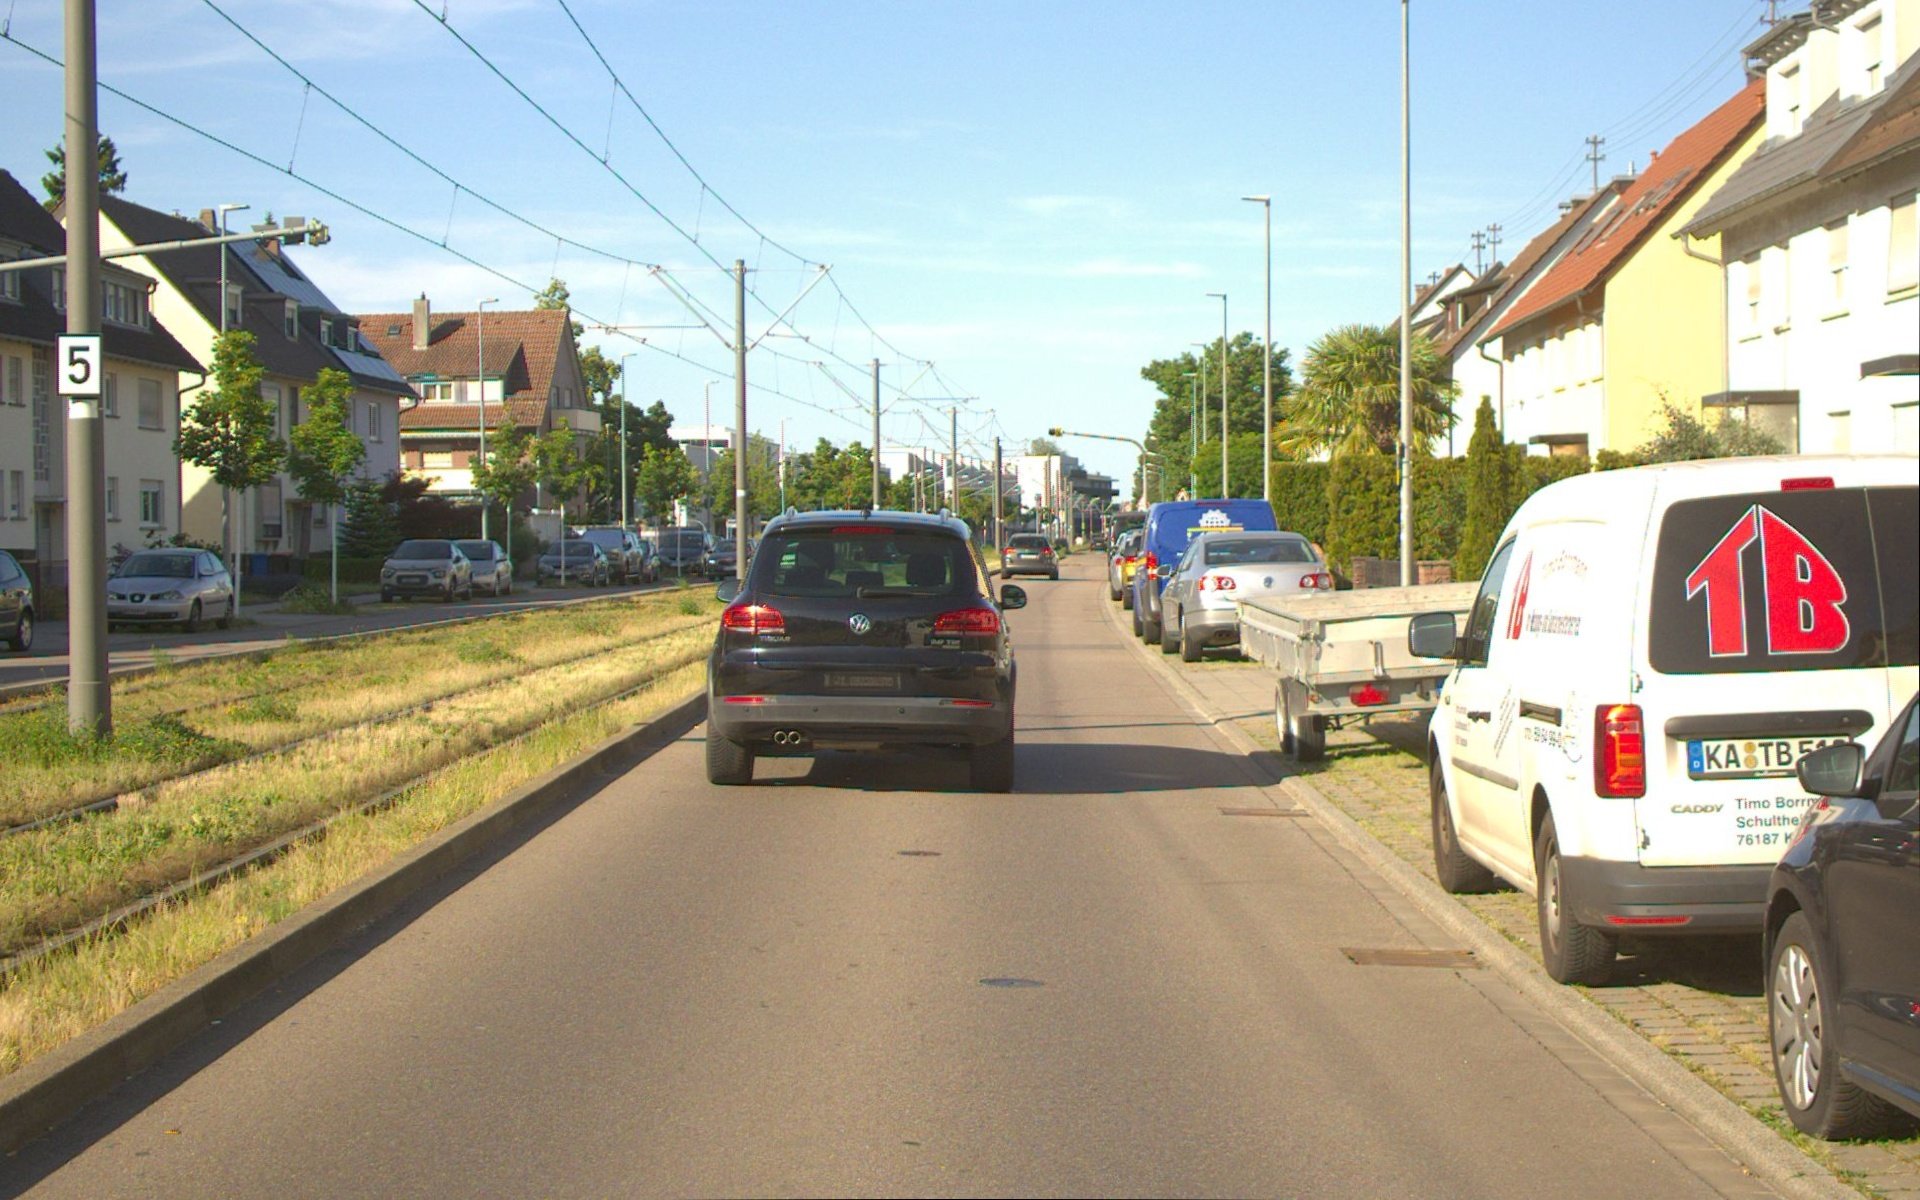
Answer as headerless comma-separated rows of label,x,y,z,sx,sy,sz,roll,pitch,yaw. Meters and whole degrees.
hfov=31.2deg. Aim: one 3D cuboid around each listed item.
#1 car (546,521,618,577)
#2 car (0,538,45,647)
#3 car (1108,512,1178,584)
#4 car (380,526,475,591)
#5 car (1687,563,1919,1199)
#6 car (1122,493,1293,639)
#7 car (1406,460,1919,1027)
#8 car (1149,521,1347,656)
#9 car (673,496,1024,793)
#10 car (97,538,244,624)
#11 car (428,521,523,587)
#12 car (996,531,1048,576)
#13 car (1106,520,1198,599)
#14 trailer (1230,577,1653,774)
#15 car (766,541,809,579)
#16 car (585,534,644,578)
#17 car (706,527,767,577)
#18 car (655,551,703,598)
car,-11.444,-1.526,104.286,1.660,1.575,4.000,-1,0,1
car,-13.762,-0.076,46.261,1.619,1.448,3.717,-1,2,5
car,4.033,-1.168,76.173,1.451,1.546,3.829,0,1,2
car,-12.692,-1.010,82.154,1.659,1.491,3.579,-1,1,1
car,2.894,0.646,7.648,1.671,1.448,4.126,-1,1,0
car,3.295,-0.485,46.632,1.993,1.855,4.917,-1,1,0
car,2.830,0.394,13.113,1.690,1.770,4.656,-1,1,1
car,3.310,-0.171,40.276,1.786,1.436,4.460,-2,1,-1
car,-0.809,0.228,21.792,1.811,1.665,4.259,1,1,-7
car,-13.521,-0.306,59.029,1.618,1.404,3.717,-1,0,1
car,-12.412,-1.210,88.308,1.803,1.626,4.000,-1,1,1
car,1.973,-1.496,110.169,1.572,1.386,3.615,-1,1,0
car,3.821,-0.815,68.760,1.645,1.529,3.864,0,1,0
trailer,3.155,0.453,23.484,2.204,1.090,4.372,-2,1,-1
car,-6.772,-1.554,134.974,1.465,1.449,3.287,-1,0,0
car,-11.076,-1.410,110.346,1.515,1.357,3.590,-1,1,0
car,-7.887,-1.673,121.648,1.873,1.649,4.000,-1,0,0
car,-10.390,-0.946,127.283,1.465,1.671,3.287,-1,0,0
